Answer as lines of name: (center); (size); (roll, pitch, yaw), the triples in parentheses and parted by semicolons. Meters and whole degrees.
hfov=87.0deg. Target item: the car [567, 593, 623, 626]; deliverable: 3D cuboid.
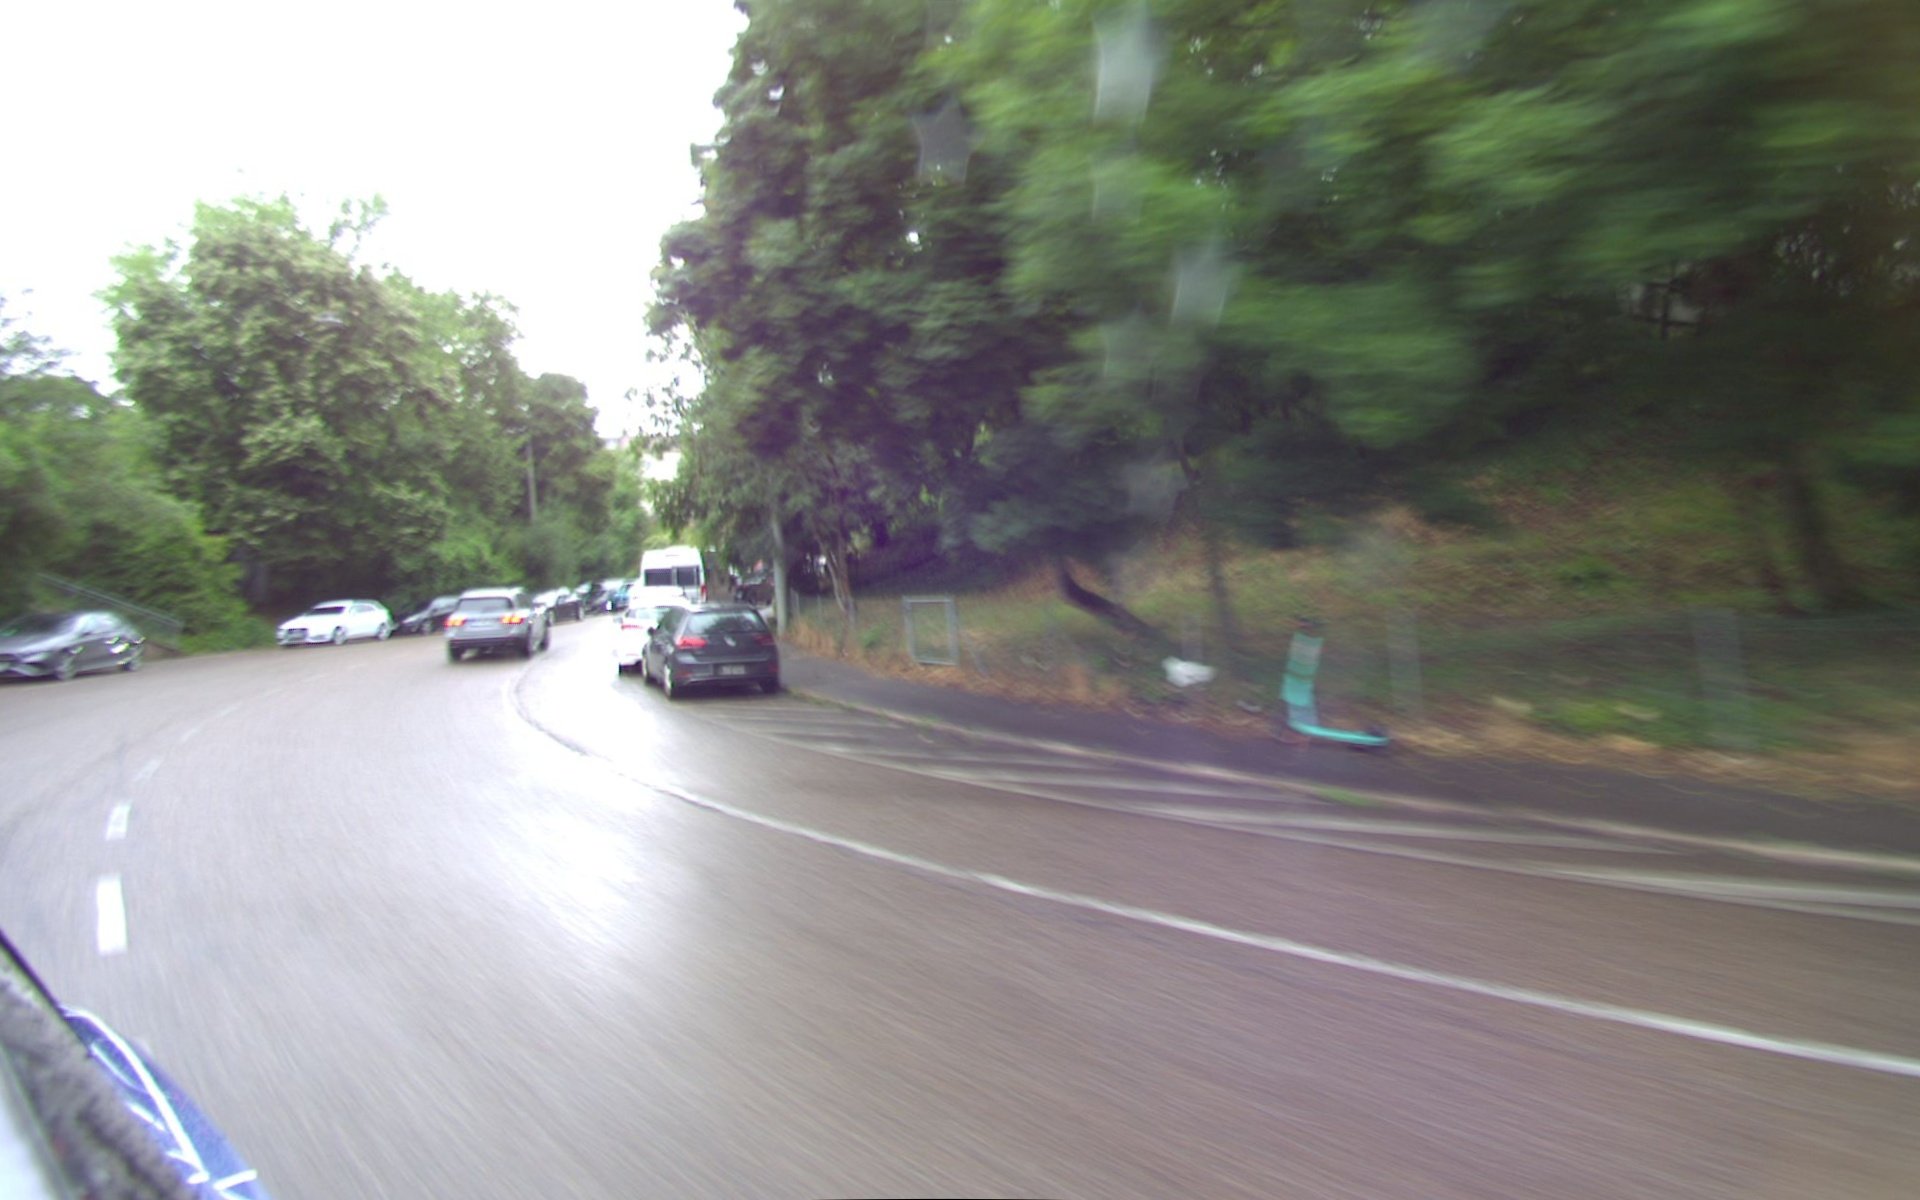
car: (-20.420, 0.491, 56.753); (1.610, 1.499, 3.744); (-7, 1, 1)

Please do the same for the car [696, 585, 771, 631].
car: (-8.829, 0.280, 39.836); (1.972, 1.631, 4.397); (1, 1, 0)

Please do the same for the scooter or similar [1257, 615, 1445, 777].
scooter or similar: (3.484, 0.806, 9.131); (0.600, 1.277, 1.442); (-6, 3, -31)

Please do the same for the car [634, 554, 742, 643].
car: (-8.786, -0.201, 33.372); (2.050, 2.568, 6.352); (-3, 3, -3)

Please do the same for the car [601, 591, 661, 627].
car: (-16.918, 0.468, 52.276); (1.969, 1.683, 4.536); (-2, 0, -6)

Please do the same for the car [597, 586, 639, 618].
car: (-21.483, 0.073, 63.653); (1.877, 1.498, 4.889); (-8, 5, -13)

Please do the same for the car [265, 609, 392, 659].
car: (-21.642, 1.120, 34.873); (1.736, 1.411, 4.096); (-4, 1, 0)

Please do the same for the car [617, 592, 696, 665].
car: (-7.865, 0.671, 26.456); (1.779, 1.594, 4.037); (-2, 2, -15)

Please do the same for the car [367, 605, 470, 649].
car: (-21.373, 1.026, 40.097); (1.644, 1.434, 3.963); (-5, 0, 5)

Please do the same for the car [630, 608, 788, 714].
car: (-4.307, 0.902, 16.921); (1.748, 1.453, 4.029); (-2, 1, -25)

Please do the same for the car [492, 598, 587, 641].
car: (-17.064, 0.739, 41.320); (1.874, 1.550, 4.497); (-2, 1, 2)

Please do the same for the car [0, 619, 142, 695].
car: (-19.931, 1.196, 22.054); (1.697, 1.455, 4.136); (-2, 0, -15)

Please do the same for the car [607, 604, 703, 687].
car: (-6.485, 0.874, 21.480); (1.727, 1.467, 4.060); (-2, 1, -17)

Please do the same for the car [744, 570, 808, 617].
car: (-8.210, -0.334, 45.469); (1.734, 1.780, 4.132); (-5, 3, 5)

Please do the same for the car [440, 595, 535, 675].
car: (-11.715, 0.782, 25.324); (1.792, 1.682, 4.324); (-2, 2, -20)

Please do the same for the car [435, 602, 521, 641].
car: (-21.355, 0.917, 45.005); (1.576, 1.399, 3.815); (-7, 1, 6)
